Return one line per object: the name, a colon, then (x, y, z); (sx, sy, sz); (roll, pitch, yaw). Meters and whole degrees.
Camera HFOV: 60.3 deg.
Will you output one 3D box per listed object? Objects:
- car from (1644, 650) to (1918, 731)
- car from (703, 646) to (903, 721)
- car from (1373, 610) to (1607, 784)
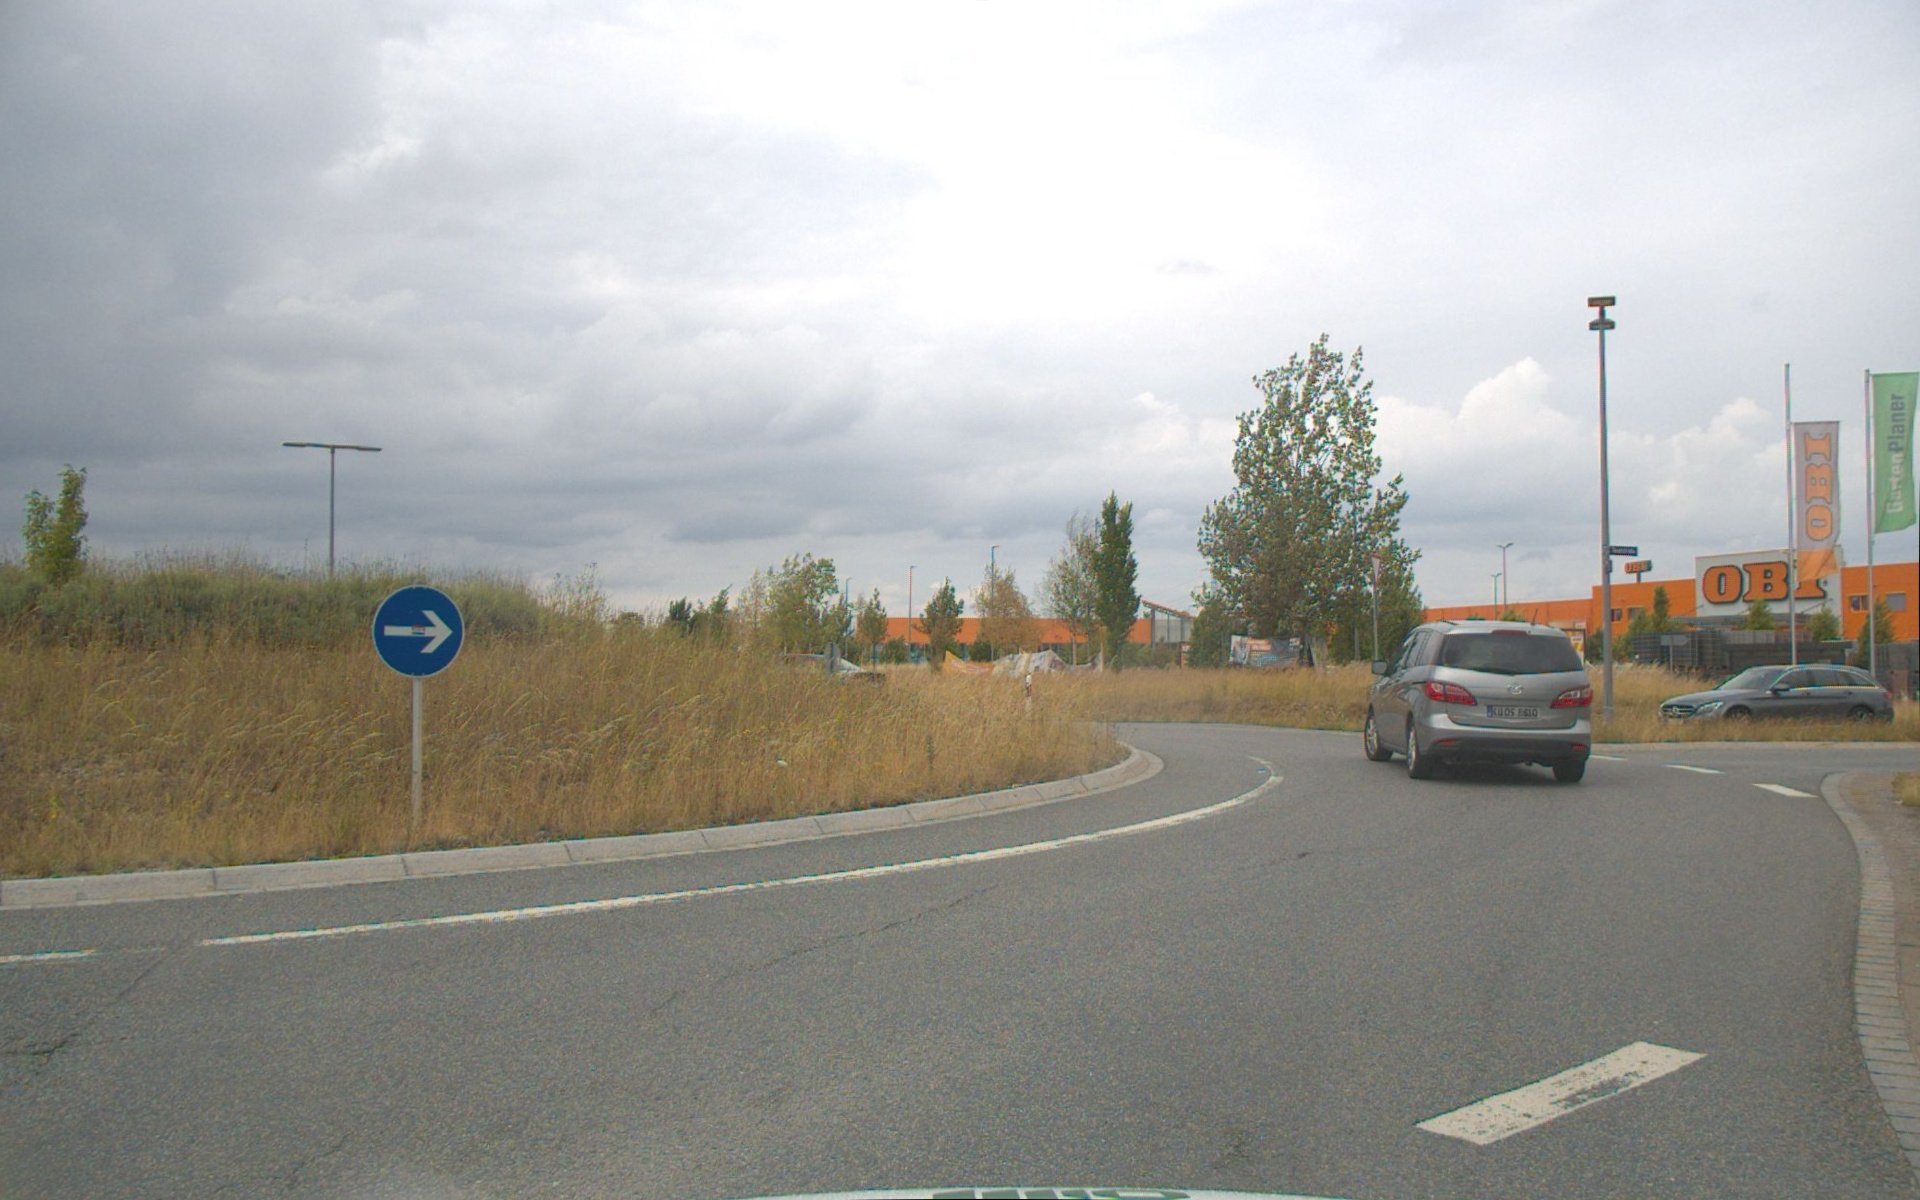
car: (16.079, 1.758, 32.476); (4.586, 1.428, 1.924); (2, -2, -10)
car: (-3.360, 1.751, 35.360); (3.904, 1.428, 1.743); (0, 0, 24)
car: (5.628, 0.961, 18.024); (1.701, 1.626, 4.000); (1, -1, 7)
